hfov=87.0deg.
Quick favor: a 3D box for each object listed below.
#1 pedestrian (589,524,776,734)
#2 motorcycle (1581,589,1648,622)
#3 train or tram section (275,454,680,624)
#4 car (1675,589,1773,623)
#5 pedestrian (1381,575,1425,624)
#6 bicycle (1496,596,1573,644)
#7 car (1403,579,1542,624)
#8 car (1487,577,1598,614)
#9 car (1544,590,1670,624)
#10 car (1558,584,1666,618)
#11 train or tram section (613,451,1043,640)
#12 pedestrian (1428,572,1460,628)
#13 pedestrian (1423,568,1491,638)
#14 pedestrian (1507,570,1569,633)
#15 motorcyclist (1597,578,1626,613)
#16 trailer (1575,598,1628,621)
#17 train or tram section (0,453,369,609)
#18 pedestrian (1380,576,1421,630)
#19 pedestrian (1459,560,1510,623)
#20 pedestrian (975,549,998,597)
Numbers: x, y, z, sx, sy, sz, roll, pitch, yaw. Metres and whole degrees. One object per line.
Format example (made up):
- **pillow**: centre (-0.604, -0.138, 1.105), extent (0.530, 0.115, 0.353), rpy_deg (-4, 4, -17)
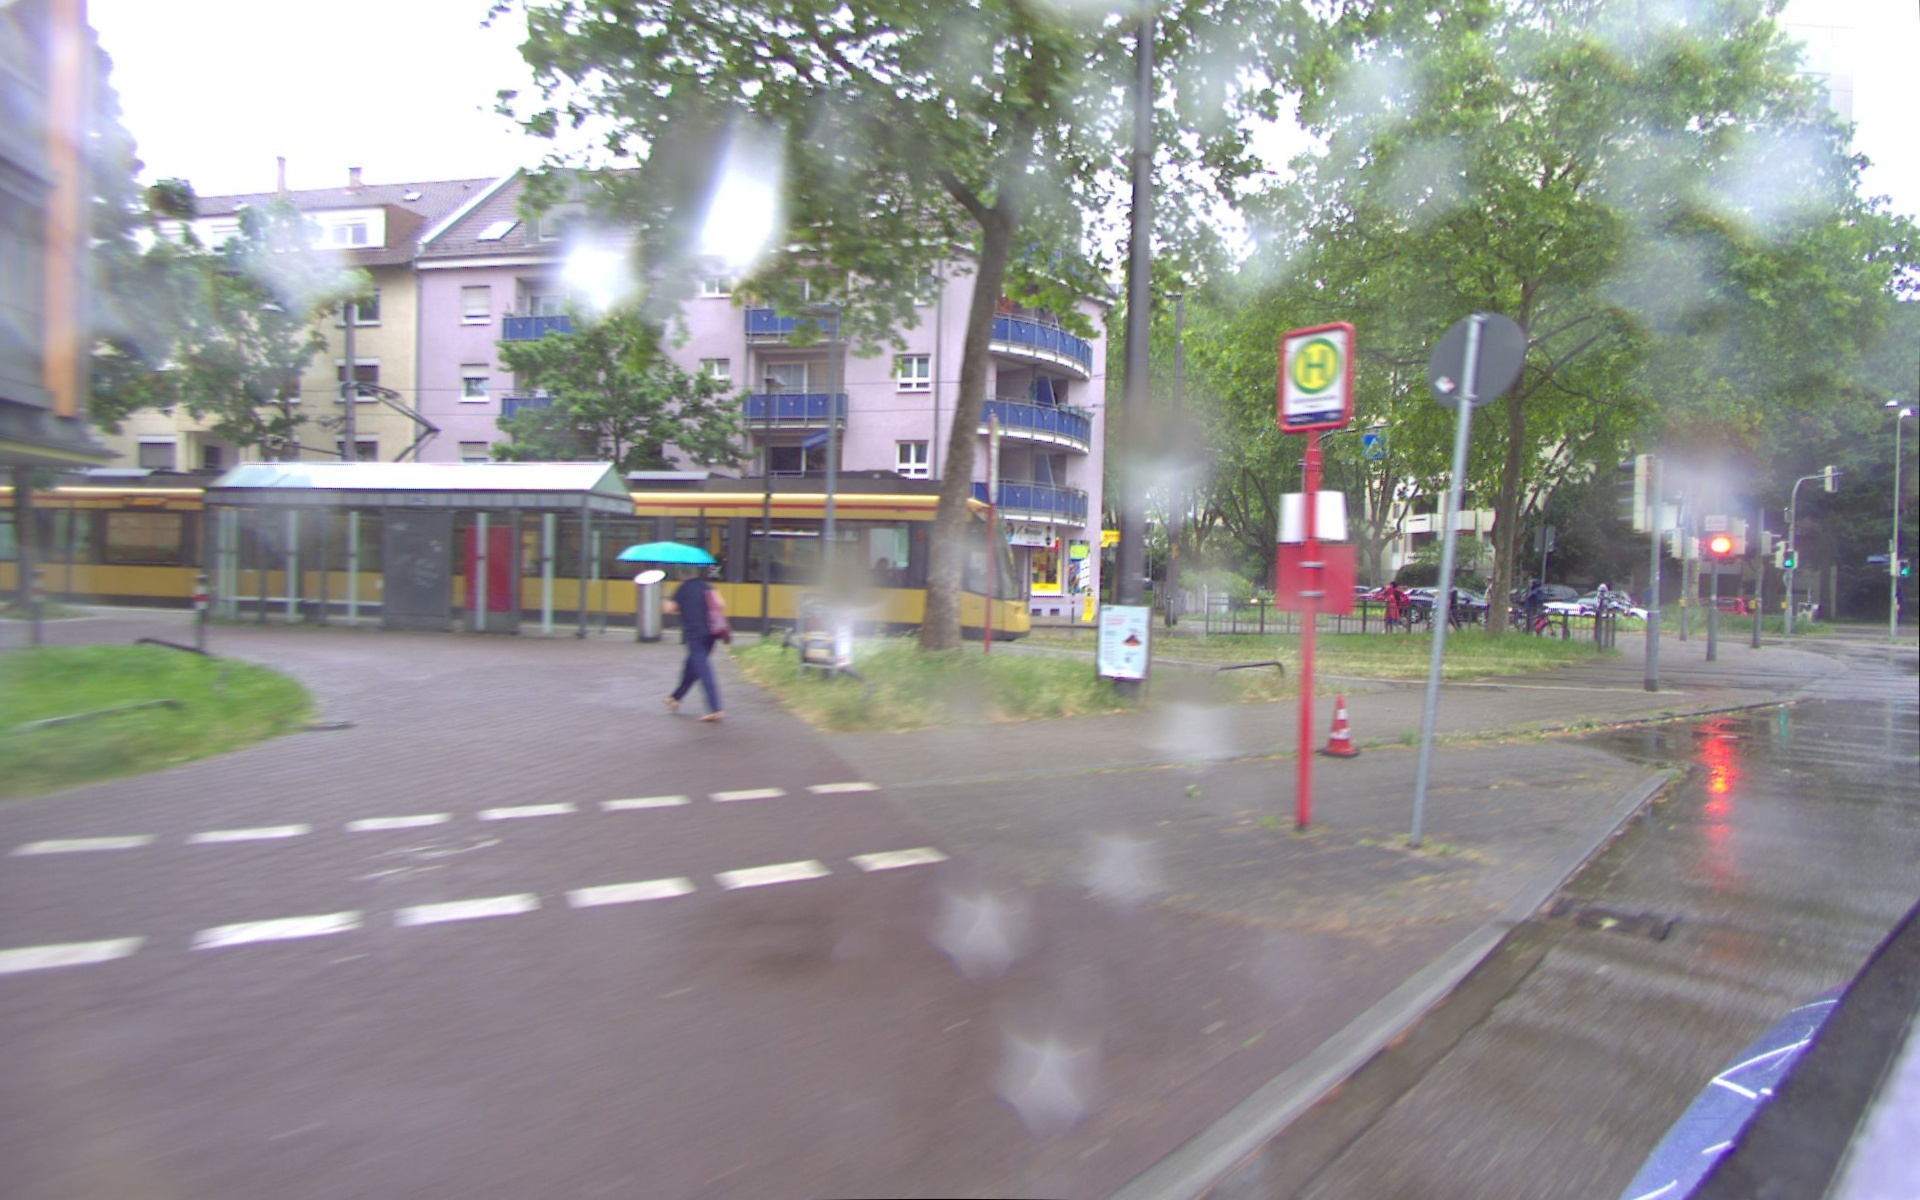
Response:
- **pedestrian**: centre (-2.739, 0.232, 9.997), extent (1.377, 1.888, 1.159), rpy_deg (2, 1, 36)
- **motorcycle**: centre (26.157, 0.197, 40.457), extent (0.865, 1.230, 2.073), rpy_deg (1, 1, -37)
- **train or tram section**: centre (-10.634, -1.355, 22.463), extent (8.249, 3.393, 2.636), rpy_deg (2, 1, 13)
- **car**: centre (37.663, 0.289, 49.923), extent (1.807, 1.544, 3.462), rpy_deg (1, 1, -35)
- **pedestrian**: centre (13.261, -0.015, 30.295), extent (1.005, 1.398, 0.664), rpy_deg (3, 2, 38)
- **bicycle**: centre (14.249, 0.479, 25.108), extent (1.608, 1.090, 0.441), rpy_deg (2, 1, 34)
- **car**: centre (19.024, 0.018, 37.673), extent (1.959, 1.479, 4.173), rpy_deg (1, 1, -40)
- **car**: centre (28.662, -0.214, 49.870), extent (4.509, 1.685, 1.878), rpy_deg (1, 1, -8)
- **car**: centre (27.425, 0.271, 42.971), extent (1.871, 1.291, 4.165), rpy_deg (1, 1, -42)
- **car**: centre (34.782, 0.036, 54.080), extent (1.902, 1.628, 4.458), rpy_deg (1, 1, -32)
- **train or tram section**: centre (-2.621, -1.119, 20.562), extent (8.251, 3.411, 2.635), rpy_deg (2, 1, 14)
- **pedestrian**: centre (14.014, -0.020, 29.338), extent (0.754, 1.567, 0.687), rpy_deg (3, 2, 24)
- **pedestrian**: centre (13.326, 0.073, 27.175), extent (1.017, 1.811, 1.239), rpy_deg (1, 1, -27)
- **pedestrian**: centre (16.318, 0.028, 28.581), extent (0.975, 1.707, 1.058), rpy_deg (2, 2, -19)
- **motorcyclist**: centre (26.111, -0.173, 40.545), extent (0.744, 1.368, 0.754), rpy_deg (1, 1, -38)
- **trailer**: centre (25.328, 0.369, 39.954), extent (1.008, 0.852, 1.482), rpy_deg (1, 1, -36)
- **train or tram section**: centre (-19.436, -1.648, 24.354), extent (9.835, 3.393, 2.636), rpy_deg (2, 1, 13)
- **pedestrian**: centre (12.948, 0.074, 29.726), extent (1.054, 1.544, 0.871), rpy_deg (2, 2, 25)
- **pedestrian**: centre (15.485, -0.249, 29.912), extent (0.796, 1.803, 0.996), rpy_deg (1, 2, -30)
- **pedestrian**: centre (0.921, -0.920, 34.769), extent (0.590, 1.622, 0.466), rpy_deg (2, 1, 38)
